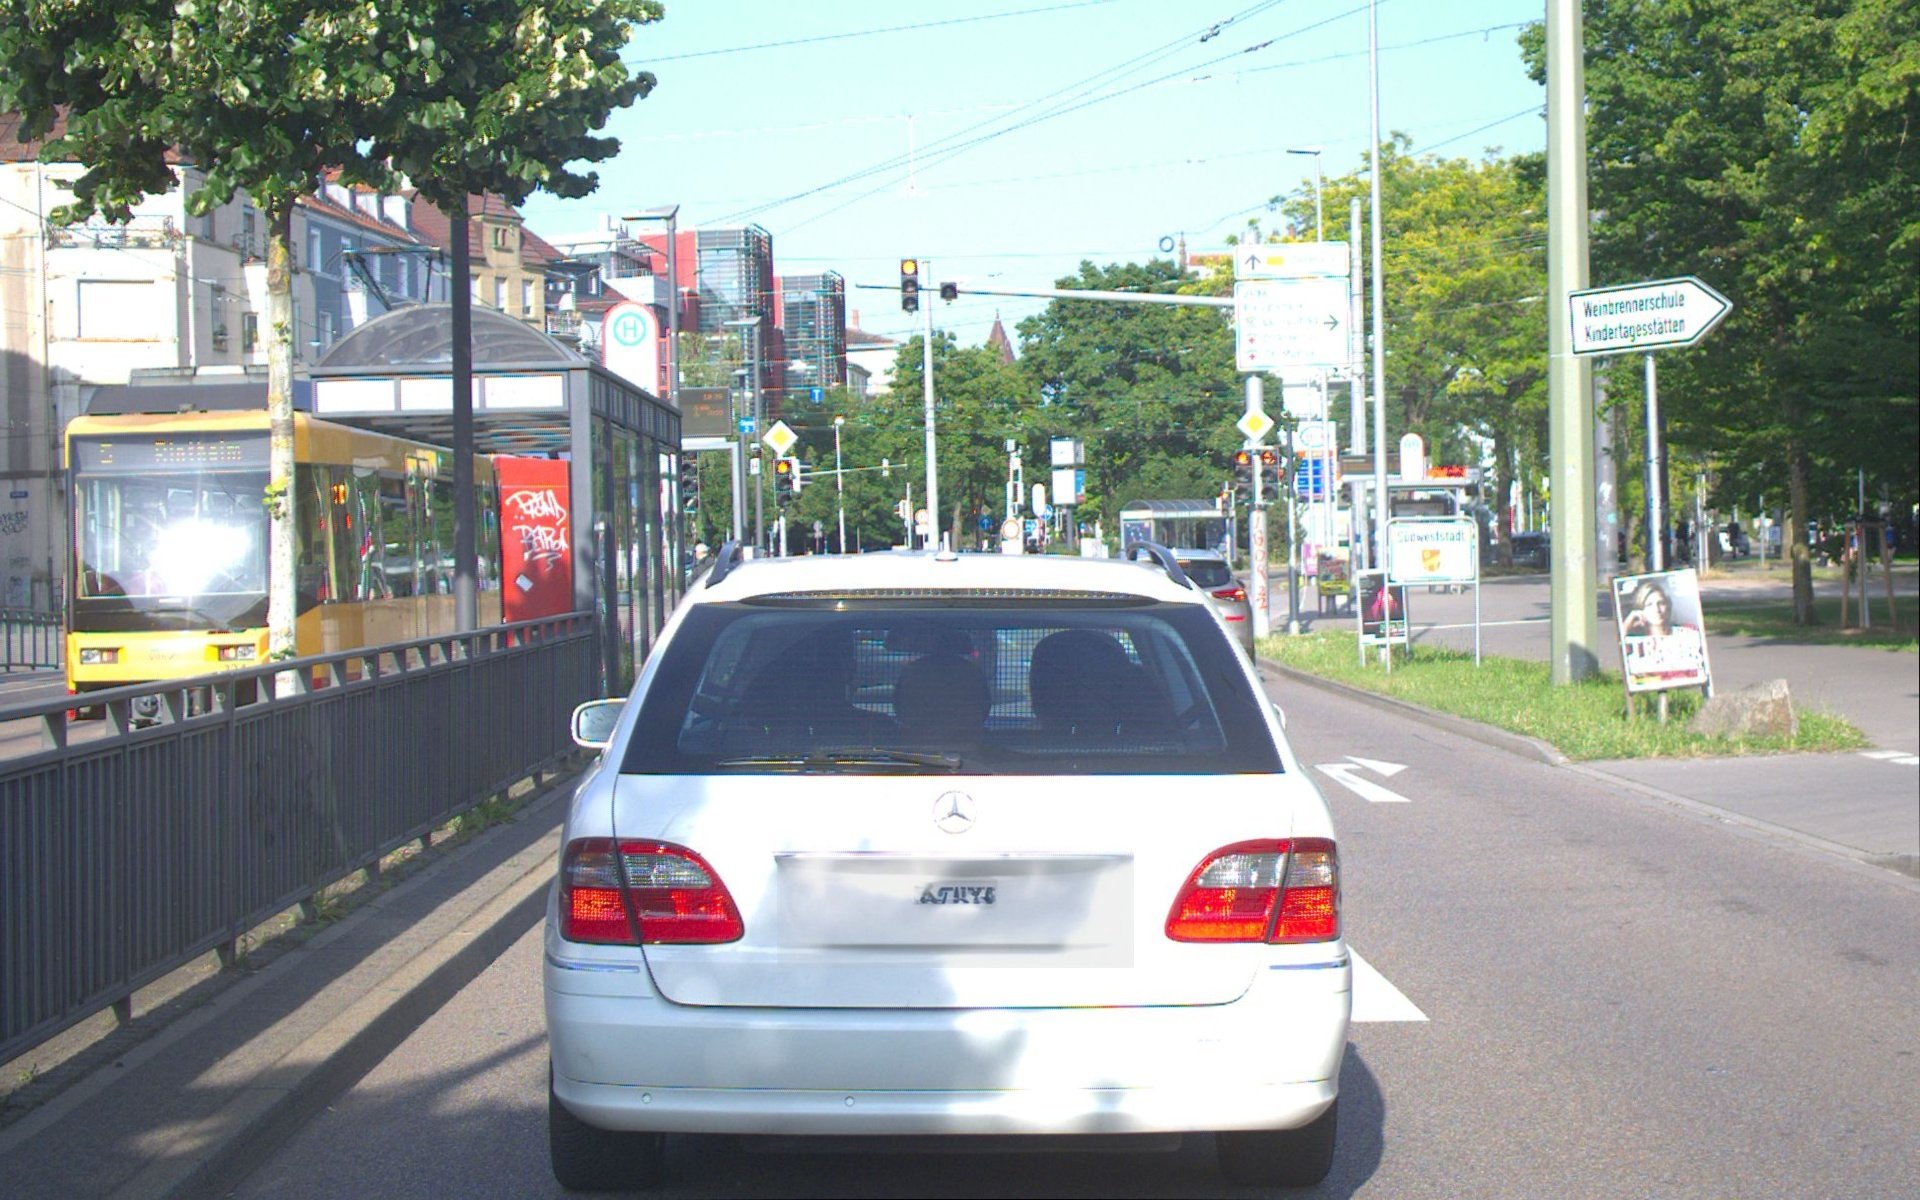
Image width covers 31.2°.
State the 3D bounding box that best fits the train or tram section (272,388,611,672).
[{"bbox_3d":[-7.044,-1.008,48.874,2.849,3.467,13.201,-1,1,0],"label":"train or tram section"}]

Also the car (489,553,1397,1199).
[{"bbox_3d":[-0.073,0.656,8.747,1.758,1.498,4.000,-1,1,-1],"label":"car"}]

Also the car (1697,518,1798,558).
[{"bbox_3d":[35.066,-2.756,152.997,3.986,1.645,2.000,-2,1,-27],"label":"car"}]

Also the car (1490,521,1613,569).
[{"bbox_3d":[21.593,-2.008,125.525,3.992,1.645,1.997,-1,1,25],"label":"car"}]

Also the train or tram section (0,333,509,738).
[{"bbox_3d":[-6.996,-0.716,36.022,2.849,3.467,13.201,0,1,0],"label":"train or tram section"}]

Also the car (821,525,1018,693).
[{"bbox_3d":[-0.376,0.048,36.859,1.787,1.684,4.000,0,1,4],"label":"car"}]

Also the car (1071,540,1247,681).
[{"bbox_3d":[2.437,0.093,41.911,2.033,1.600,4.000,0,1,4],"label":"car"}]

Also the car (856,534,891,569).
[{"bbox_3d":[-5.188,-2.889,205.667,1.993,2.007,4.000,-2,1,-1],"label":"car"}]
